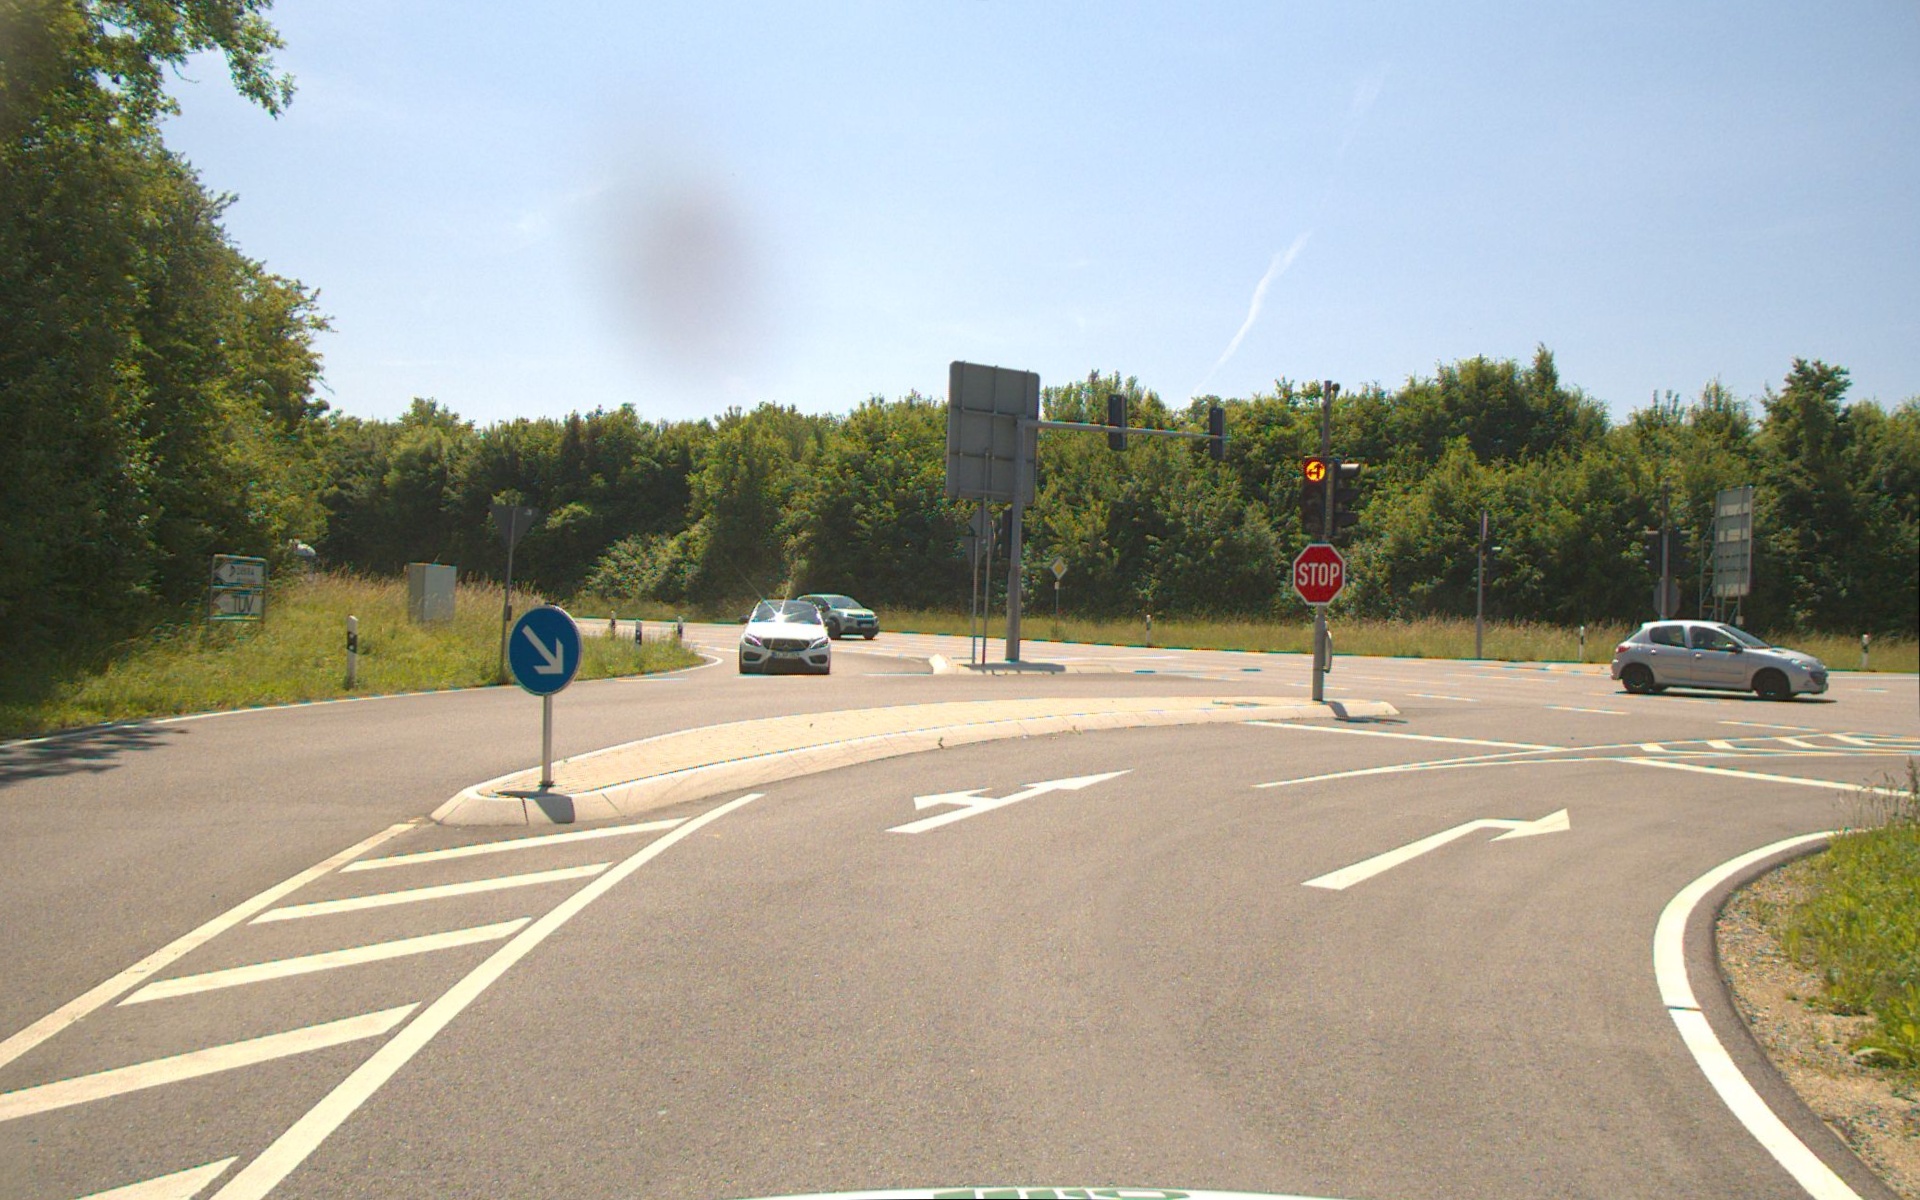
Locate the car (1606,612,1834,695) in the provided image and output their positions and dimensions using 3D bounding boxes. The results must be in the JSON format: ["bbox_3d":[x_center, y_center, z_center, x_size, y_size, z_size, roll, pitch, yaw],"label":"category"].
[{"bbox_3d":[14.698,0.991,32.045,3.712,1.438,1.810,1,1,39],"label":"car"}]

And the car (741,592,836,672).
[{"bbox_3d":[-3.623,0.616,34.458,1.770,1.437,5.326,2,0,-7],"label":"car"}]

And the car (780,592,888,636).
[{"bbox_3d":[-4.413,0.467,57.507,1.720,1.429,3.926,0,1,-42],"label":"car"}]
